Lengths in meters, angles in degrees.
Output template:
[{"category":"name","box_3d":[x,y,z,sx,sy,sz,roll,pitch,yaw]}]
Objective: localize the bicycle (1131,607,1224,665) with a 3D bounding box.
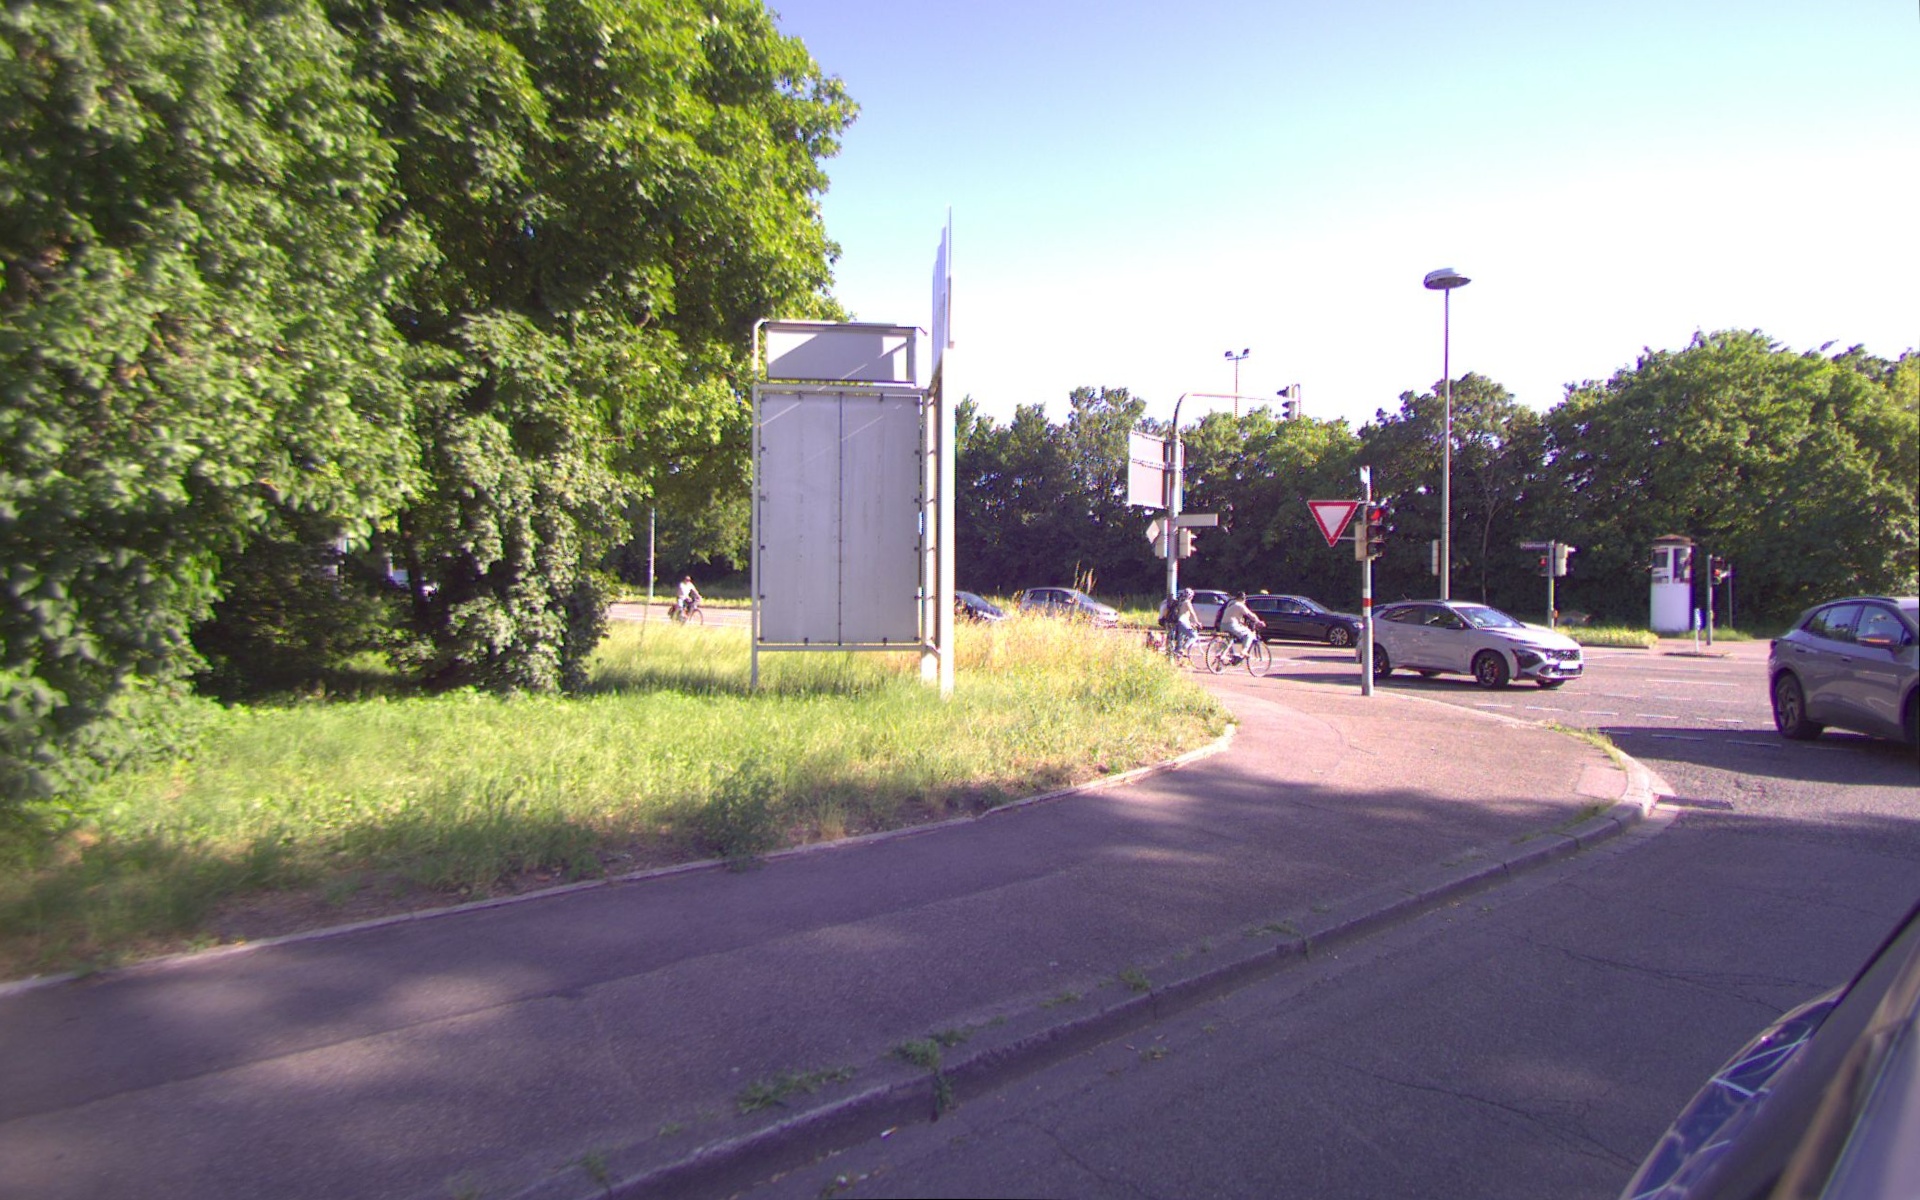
[{"category":"bicycle","box_3d":[4.707,0.778,21.909,1.831,1.089,0.532,4,1,-11]}]

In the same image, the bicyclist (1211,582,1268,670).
[{"category":"bicyclist","box_3d":[5.545,0.506,20.092,0.791,1.655,0.544,5,0,-28]}]

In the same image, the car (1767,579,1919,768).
[{"category":"car","box_3d":[10.068,0.686,9.889,1.968,1.660,4.341,0,3,18]}]

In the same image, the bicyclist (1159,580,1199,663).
[{"category":"bicyclist","box_3d":[4.735,0.456,21.907,0.573,1.717,0.528,4,1,-10]}]

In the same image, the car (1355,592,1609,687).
[{"category":"car","box_3d":[9.726,0.649,19.233,1.658,1.593,4.127,0,0,-25]}]

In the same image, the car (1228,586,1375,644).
[{"category":"car","box_3d":[10.279,0.411,30.590,3.970,1.560,1.606,1,3,32]}]

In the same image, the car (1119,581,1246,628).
[{"category":"car","box_3d":[8.089,0.147,36.995,4.175,1.557,1.810,2,0,40]}]

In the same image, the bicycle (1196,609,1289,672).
[{"category":"bicycle","box_3d":[5.619,0.812,20.113,1.831,1.089,0.532,5,0,-27]}]

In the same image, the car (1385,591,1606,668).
[{"category":"car","box_3d":[12.631,0.621,24.022,4.347,1.504,1.893,2,3,41]}]

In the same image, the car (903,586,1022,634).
[{"category":"car","box_3d":[0.060,0.290,34.507,3.893,1.457,1.669,2,3,39]}]

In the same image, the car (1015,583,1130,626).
[{"category":"car","box_3d":[4.444,0.141,40.253,4.223,1.594,1.853,2,1,40]}]

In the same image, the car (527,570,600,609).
[{"category":"car","box_3d":[-20.016,-0.576,51.045,3.893,1.820,1.775,2,3,39]}]
